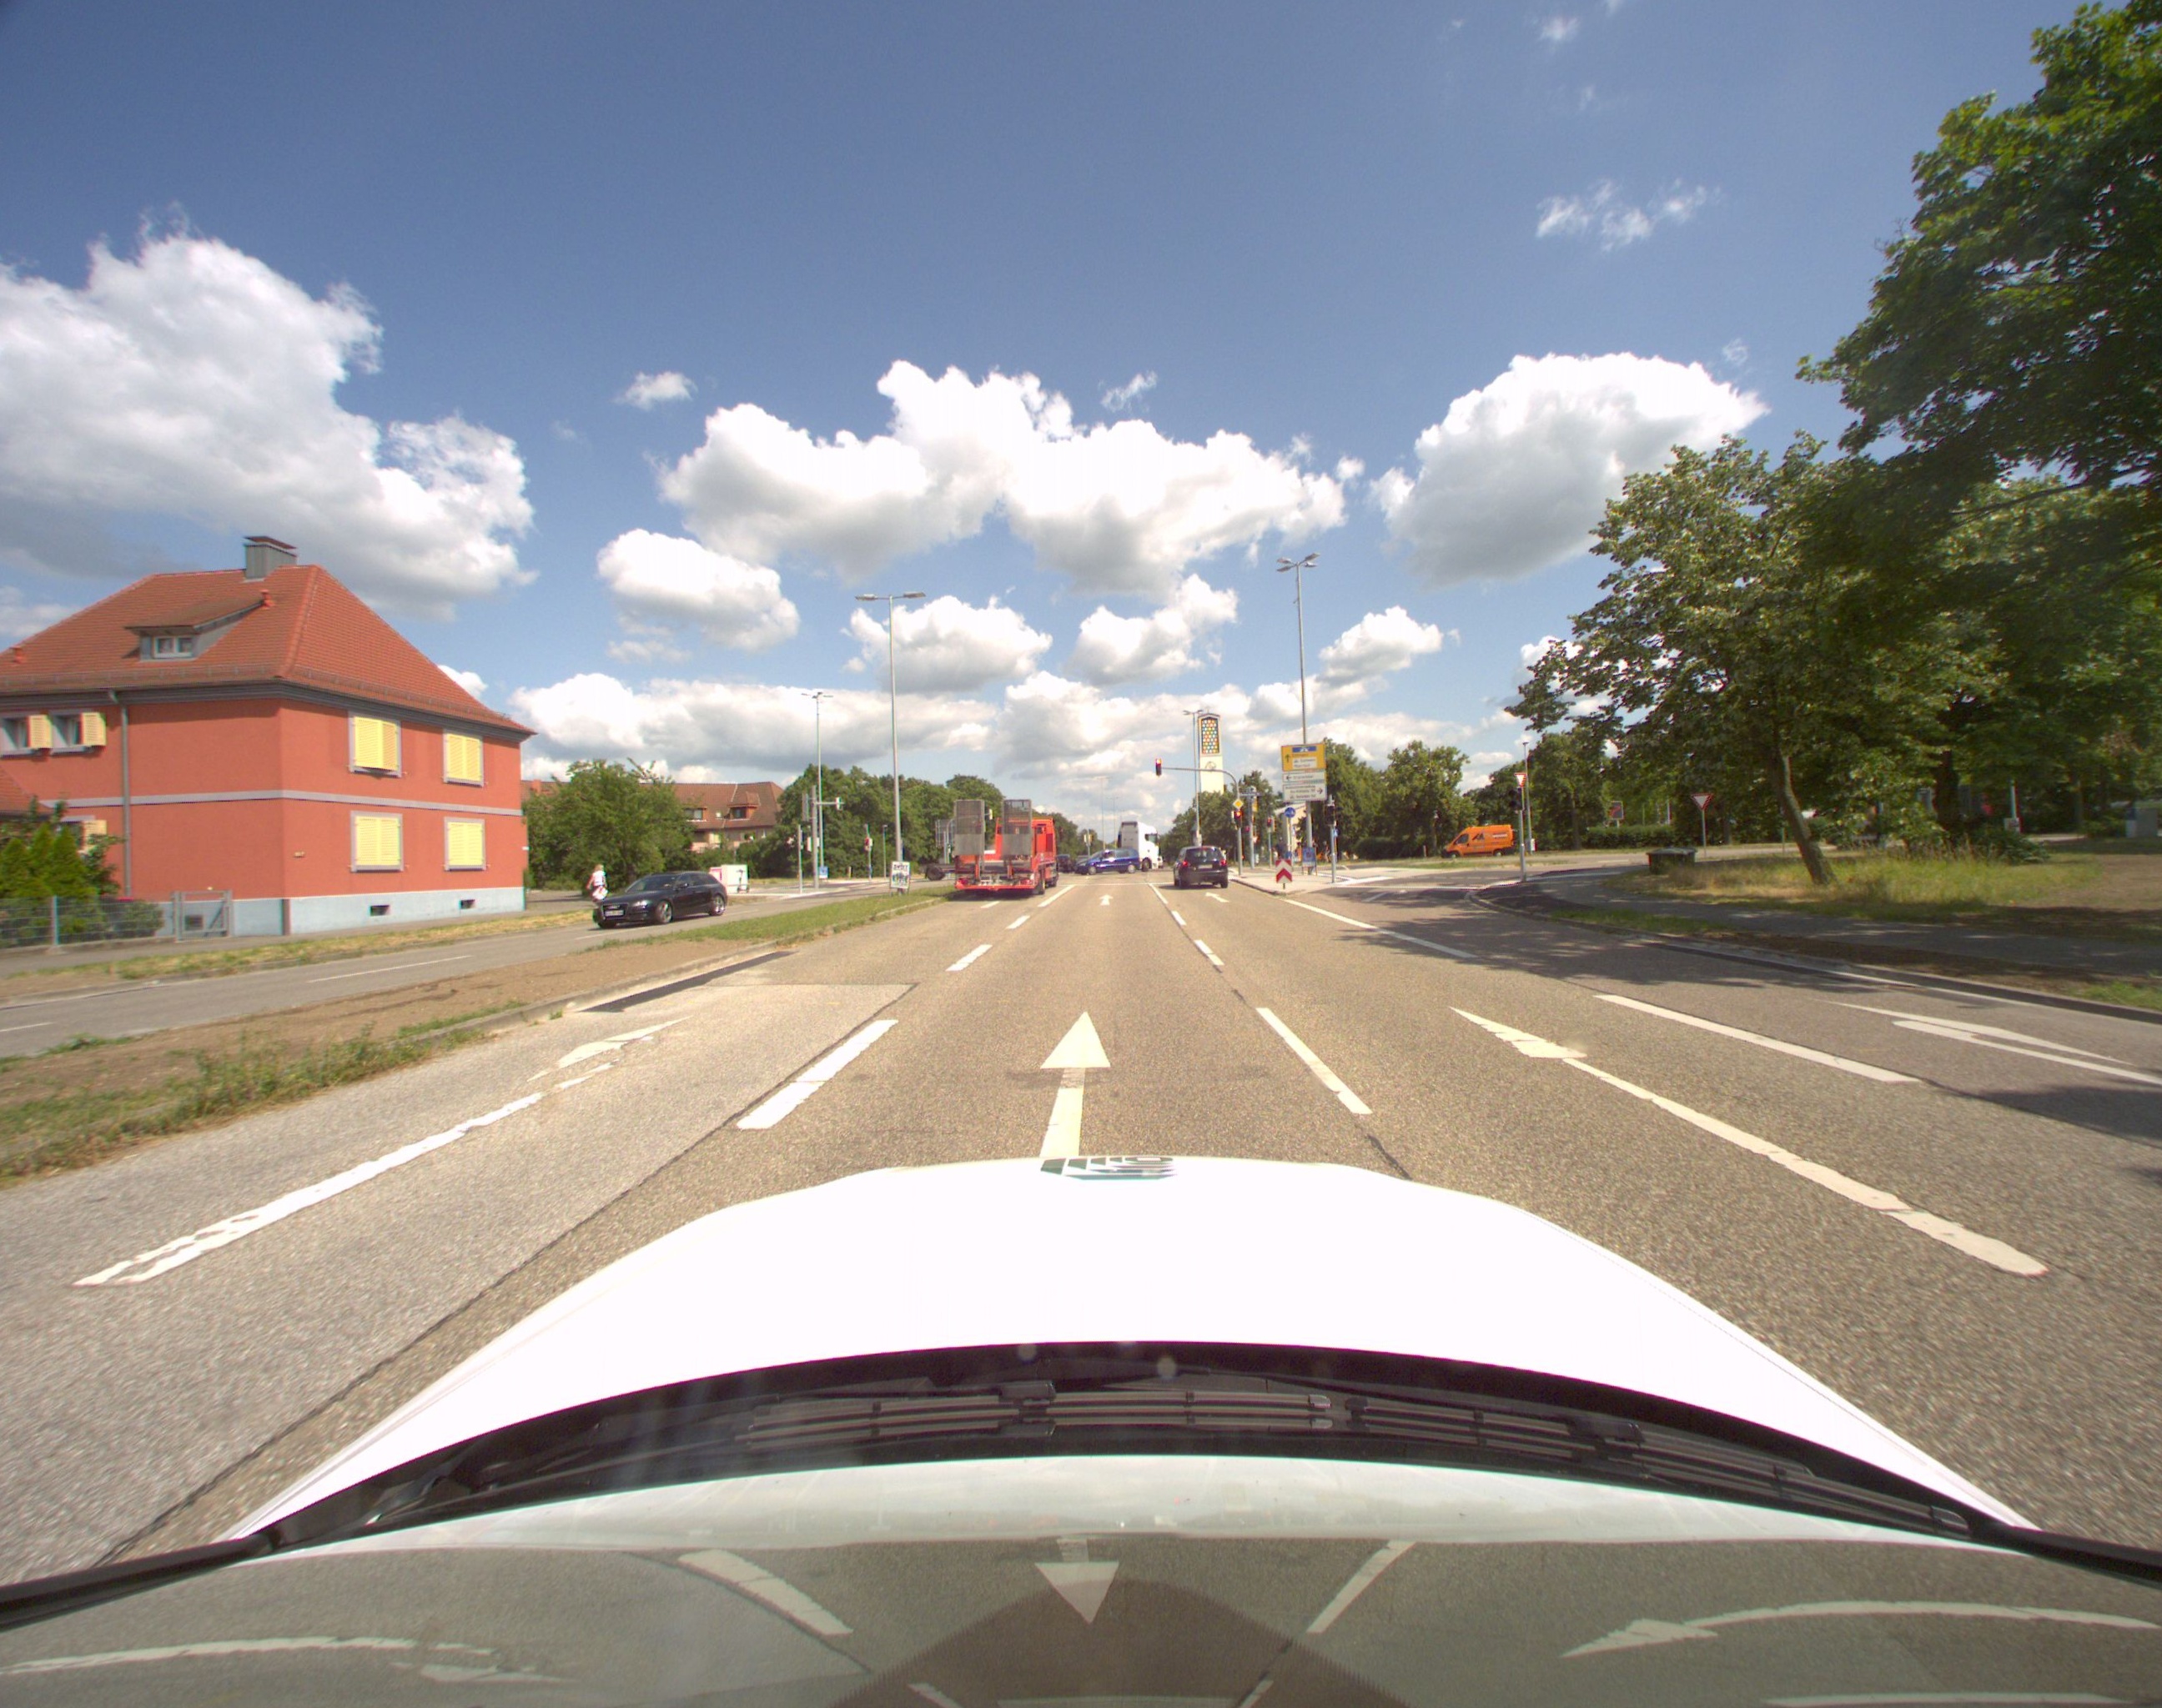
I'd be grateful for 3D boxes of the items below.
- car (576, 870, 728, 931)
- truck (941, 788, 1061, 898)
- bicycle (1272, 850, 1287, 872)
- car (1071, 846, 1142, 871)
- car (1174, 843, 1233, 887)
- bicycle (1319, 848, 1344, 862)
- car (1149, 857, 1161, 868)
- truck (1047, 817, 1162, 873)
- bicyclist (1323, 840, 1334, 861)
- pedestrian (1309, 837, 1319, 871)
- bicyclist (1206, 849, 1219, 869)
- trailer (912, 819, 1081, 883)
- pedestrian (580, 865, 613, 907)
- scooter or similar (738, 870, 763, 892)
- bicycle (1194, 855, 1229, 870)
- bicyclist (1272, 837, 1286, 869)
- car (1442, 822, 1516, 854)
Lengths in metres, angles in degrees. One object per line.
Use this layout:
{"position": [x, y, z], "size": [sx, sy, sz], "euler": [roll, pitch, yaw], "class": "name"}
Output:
{"position": [-12.002, 1.227, 23.189], "size": [1.765, 1.438, 4.577], "euler": [-3, -1, 1], "class": "car"}
{"position": [-2.618, -0.257, 30.820], "size": [3.059, 3.414, 11.072], "euler": [0, -1, 2], "class": "truck"}
{"position": [10.560, 0.371, 43.323], "size": [0.643, 1.108, 1.937], "euler": [0, -1, 18], "class": "bicycle"}
{"position": [1.633, 0.314, 52.129], "size": [4.216, 1.574, 1.842], "euler": [0, -1, -22], "class": "car"}
{"position": [4.602, 0.430, 31.149], "size": [1.792, 1.552, 4.001], "euler": [0, -1, 2], "class": "car"}
{"position": [21.692, 0.088, 70.583], "size": [1.979, 1.093, 0.690], "euler": [-2, -1, 24], "class": "bicycle"}
{"position": [11.191, 1.299, 122.983], "size": [1.652, 1.555, 4.001], "euler": [0, -1, 2], "class": "car"}
{"position": [1.875, -0.707, 61.174], "size": [8.680, 3.970, 2.935], "euler": [-1, 0, -38], "class": "truck"}
{"position": [21.501, -0.307, 70.666], "size": [0.779, 1.804, 0.690], "euler": [-2, -1, 25], "class": "bicyclist"}
{"position": [12.227, -0.014, 42.668], "size": [0.461, 1.779, 0.484], "euler": [0, -1, 13], "class": "pedestrian"}
{"position": [10.802, 0.395, 66.754], "size": [0.701, 1.616, 0.792], "euler": [-2, -1, -20], "class": "bicyclist"}
{"position": [-5.867, -0.241, 56.953], "size": [11.275, 4.012, 3.622], "euler": [-2, 0, -8], "class": "trailer"}
{"position": [-18.238, 1.199, 30.681], "size": [0.693, 1.583, 0.851], "euler": [0, -1, 2], "class": "pedestrian"}
{"position": [-17.768, 1.456, 43.840], "size": [0.587, 1.164, 1.762], "euler": [0, -1, 1], "class": "scooter or similar"}
{"position": [10.692, 0.689, 66.716], "size": [2.843, 1.112, 0.792], "euler": [-2, 0, -20], "class": "bicycle"}
{"position": [10.501, -0.043, 43.144], "size": [0.643, 1.661, 0.653], "euler": [0, -1, 17], "class": "bicyclist"}
{"position": [29.091, -1.111, 59.582], "size": [4.799, 2.226, 2.225], "euler": [-1, -1, 27], "class": "car"}
